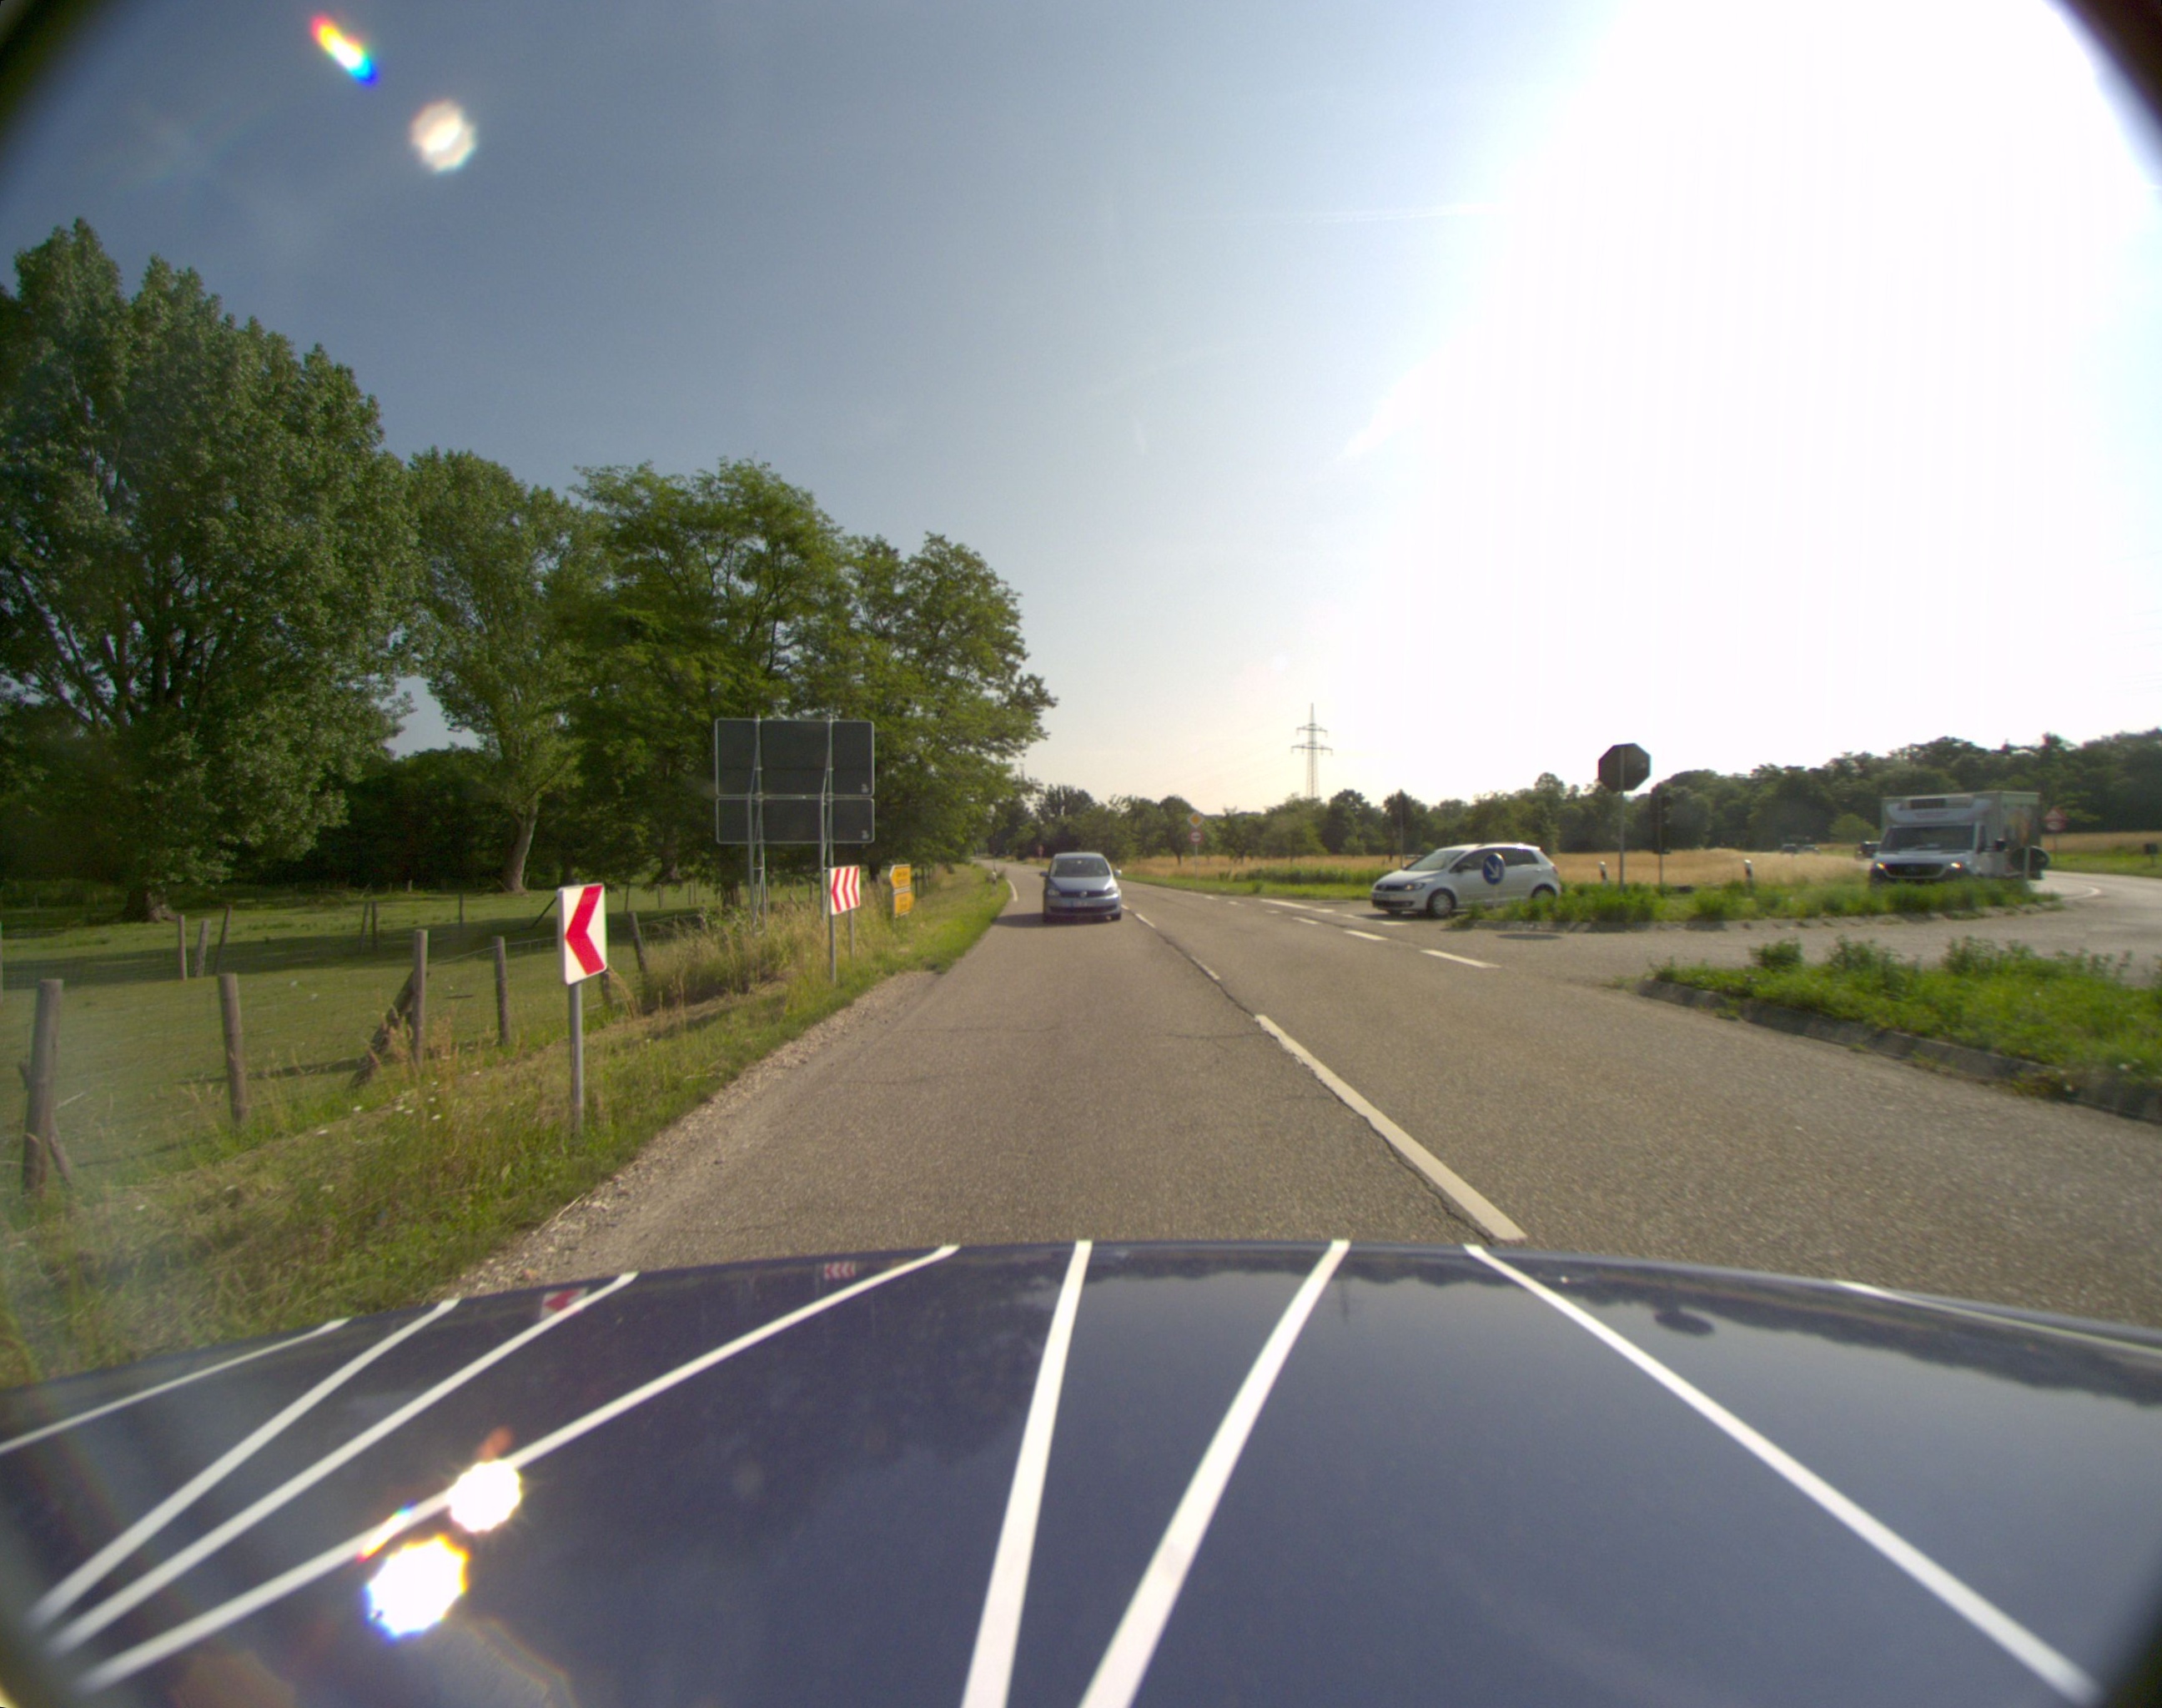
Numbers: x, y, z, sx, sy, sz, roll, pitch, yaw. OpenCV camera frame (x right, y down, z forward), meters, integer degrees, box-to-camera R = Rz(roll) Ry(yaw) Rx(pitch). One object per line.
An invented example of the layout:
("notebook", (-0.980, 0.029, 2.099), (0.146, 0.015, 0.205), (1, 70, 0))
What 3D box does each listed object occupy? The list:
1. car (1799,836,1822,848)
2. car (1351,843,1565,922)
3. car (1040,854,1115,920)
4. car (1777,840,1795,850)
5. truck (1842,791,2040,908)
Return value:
("car", (98.799, -1.640, 102.970), (1.813, 1.543, 4.008), (-2, 0, 38))
("car", (8.386, 0.590, 17.057), (3.910, 1.570, 1.998), (-1, 0, -13))
("car", (-0.022, 0.777, 19.708), (1.717, 1.495, 4.094), (-1, 0, 2))
("car", (113.551, -1.515, 122.421), (1.813, 1.543, 4.008), (-2, 0, 38))
("truck", (25.763, -0.215, 22.674), (7.376, 3.028, 2.578), (-2, 1, -31))
